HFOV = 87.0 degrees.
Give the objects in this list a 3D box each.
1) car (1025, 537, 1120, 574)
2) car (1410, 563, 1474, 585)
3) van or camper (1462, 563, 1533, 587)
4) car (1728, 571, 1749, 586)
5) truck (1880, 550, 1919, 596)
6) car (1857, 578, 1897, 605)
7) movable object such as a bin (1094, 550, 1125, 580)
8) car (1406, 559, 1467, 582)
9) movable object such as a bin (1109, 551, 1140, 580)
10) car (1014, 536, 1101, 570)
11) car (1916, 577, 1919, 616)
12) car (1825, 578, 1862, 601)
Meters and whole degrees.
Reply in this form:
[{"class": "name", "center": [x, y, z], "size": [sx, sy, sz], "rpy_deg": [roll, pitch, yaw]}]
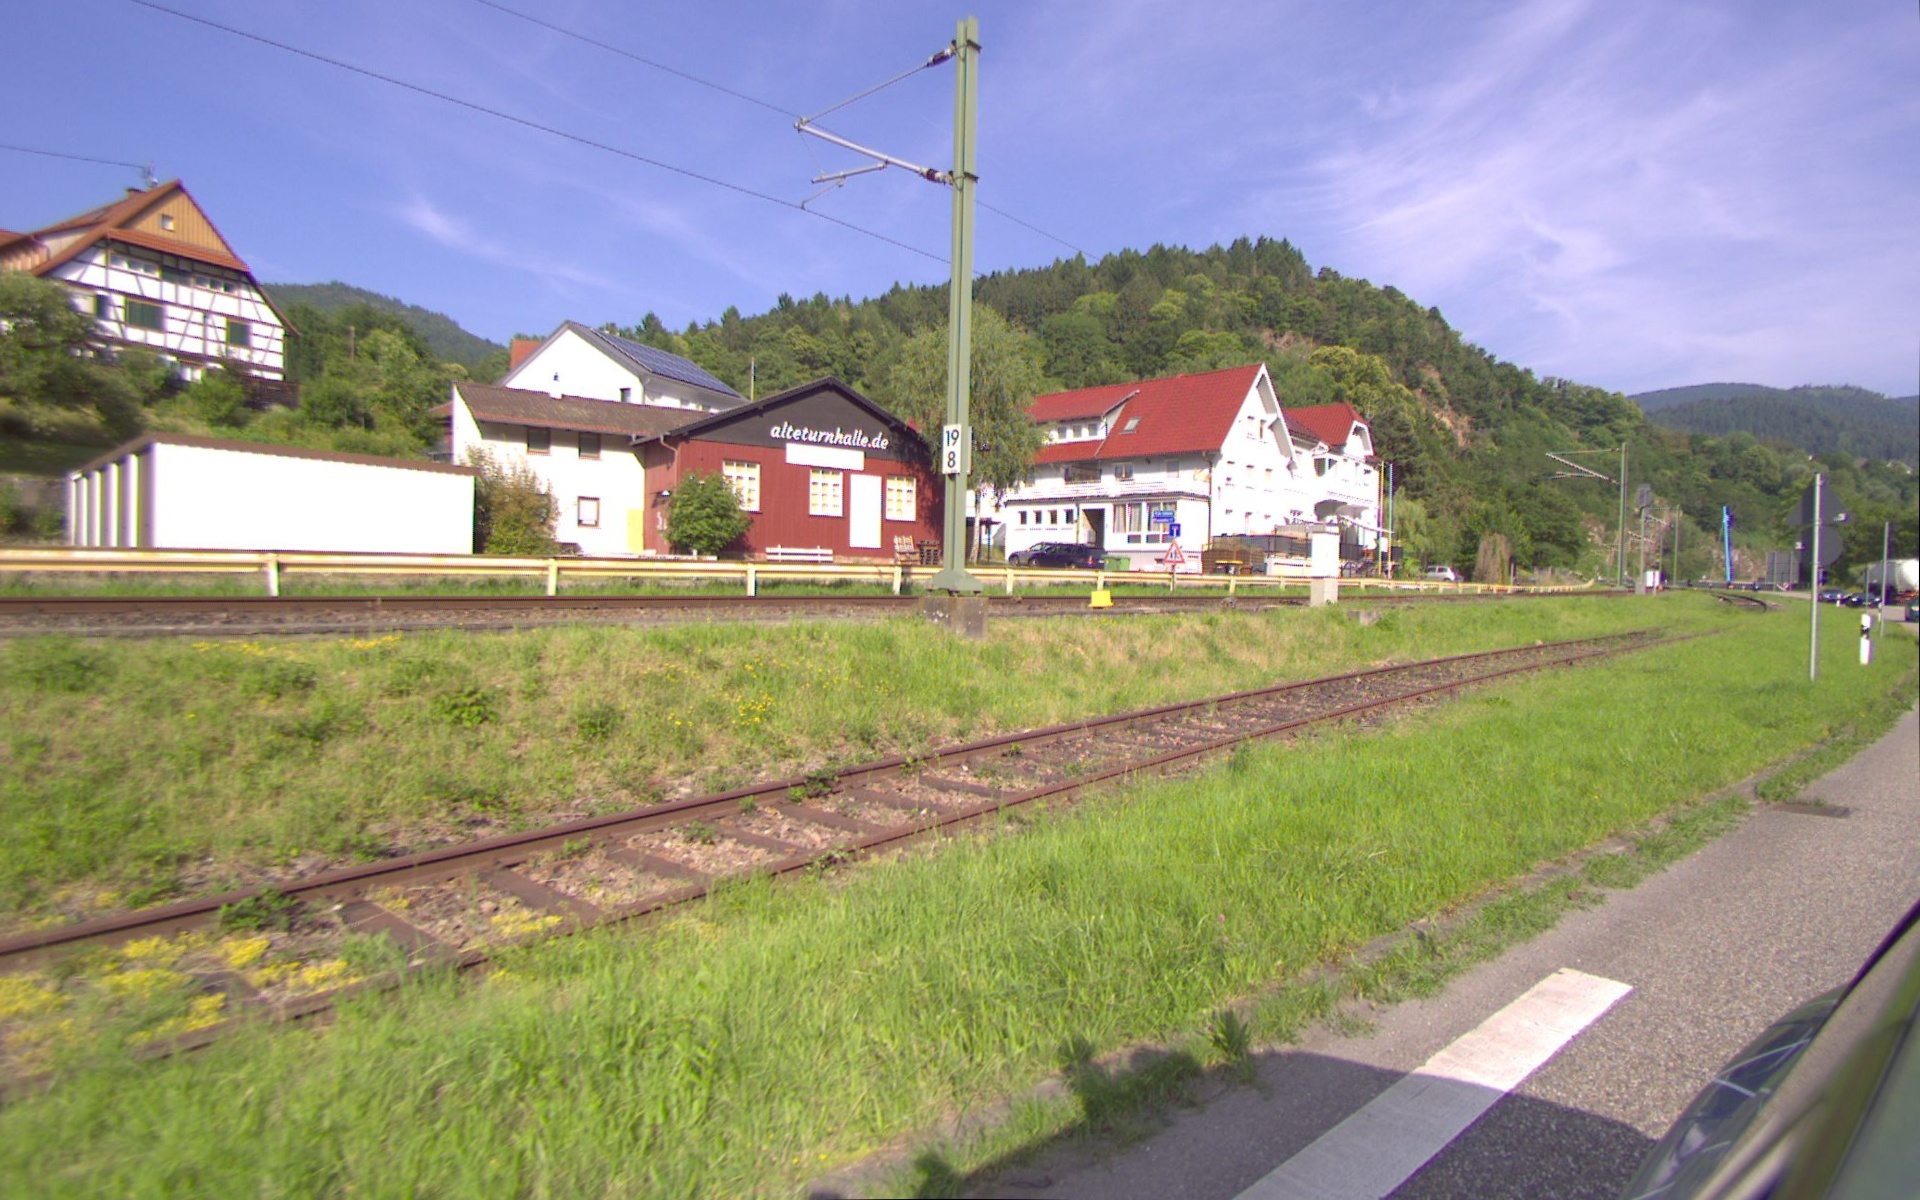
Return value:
[{"class": "car", "center": [4.973, -1.998, 44.989], "size": [1.794, 1.392, 3.995], "rpy_deg": [1, 4, -42]}, {"class": "car", "center": [38.479, -2.073, 80.816], "size": [4.304, 1.549, 1.973], "rpy_deg": [4, 2, 37]}, {"class": "van or camper", "center": [49.696, -2.317, 93.600], "size": [5.418, 1.952, 2.088], "rpy_deg": [5, 4, 43]}, {"class": "car", "center": [114.917, -3.125, 149.362], "size": [1.986, 2.038, 3.953], "rpy_deg": [4, 3, 33]}, {"class": "truck", "center": [85.495, -2.361, 90.736], "size": [2.741, 3.883, 14.376], "rpy_deg": [0, 1, 35]}, {"class": "car", "center": [74.036, -0.702, 81.723], "size": [1.991, 2.038, 3.945], "rpy_deg": [4, 3, 38]}, {"class": "movable object such as a bin", "center": [5.622, -1.297, 38.026], "size": [0.897, 1.064, 0.808], "rpy_deg": [1, -1, -44]}, {"class": "car", "center": [37.036, -2.289, 78.712], "size": [3.979, 1.549, 1.973], "rpy_deg": [4, 2, 37]}, {"class": "movable object such as a bin", "center": [6.306, -1.296, 38.729], "size": [0.897, 1.064, 0.808], "rpy_deg": [1, -1, -44]}, {"class": "car", "center": [4.744, -2.323, 49.589], "size": [1.795, 1.392, 3.993], "rpy_deg": [1, 4, -44]}, {"class": "car", "center": [52.812, -0.132, 54.370], "size": [1.995, 2.038, 3.936], "rpy_deg": [5, 3, 44]}, {"class": "car", "center": [84.811, -1.039, 97.212], "size": [1.986, 2.038, 3.953], "rpy_deg": [4, 3, 33]}]
